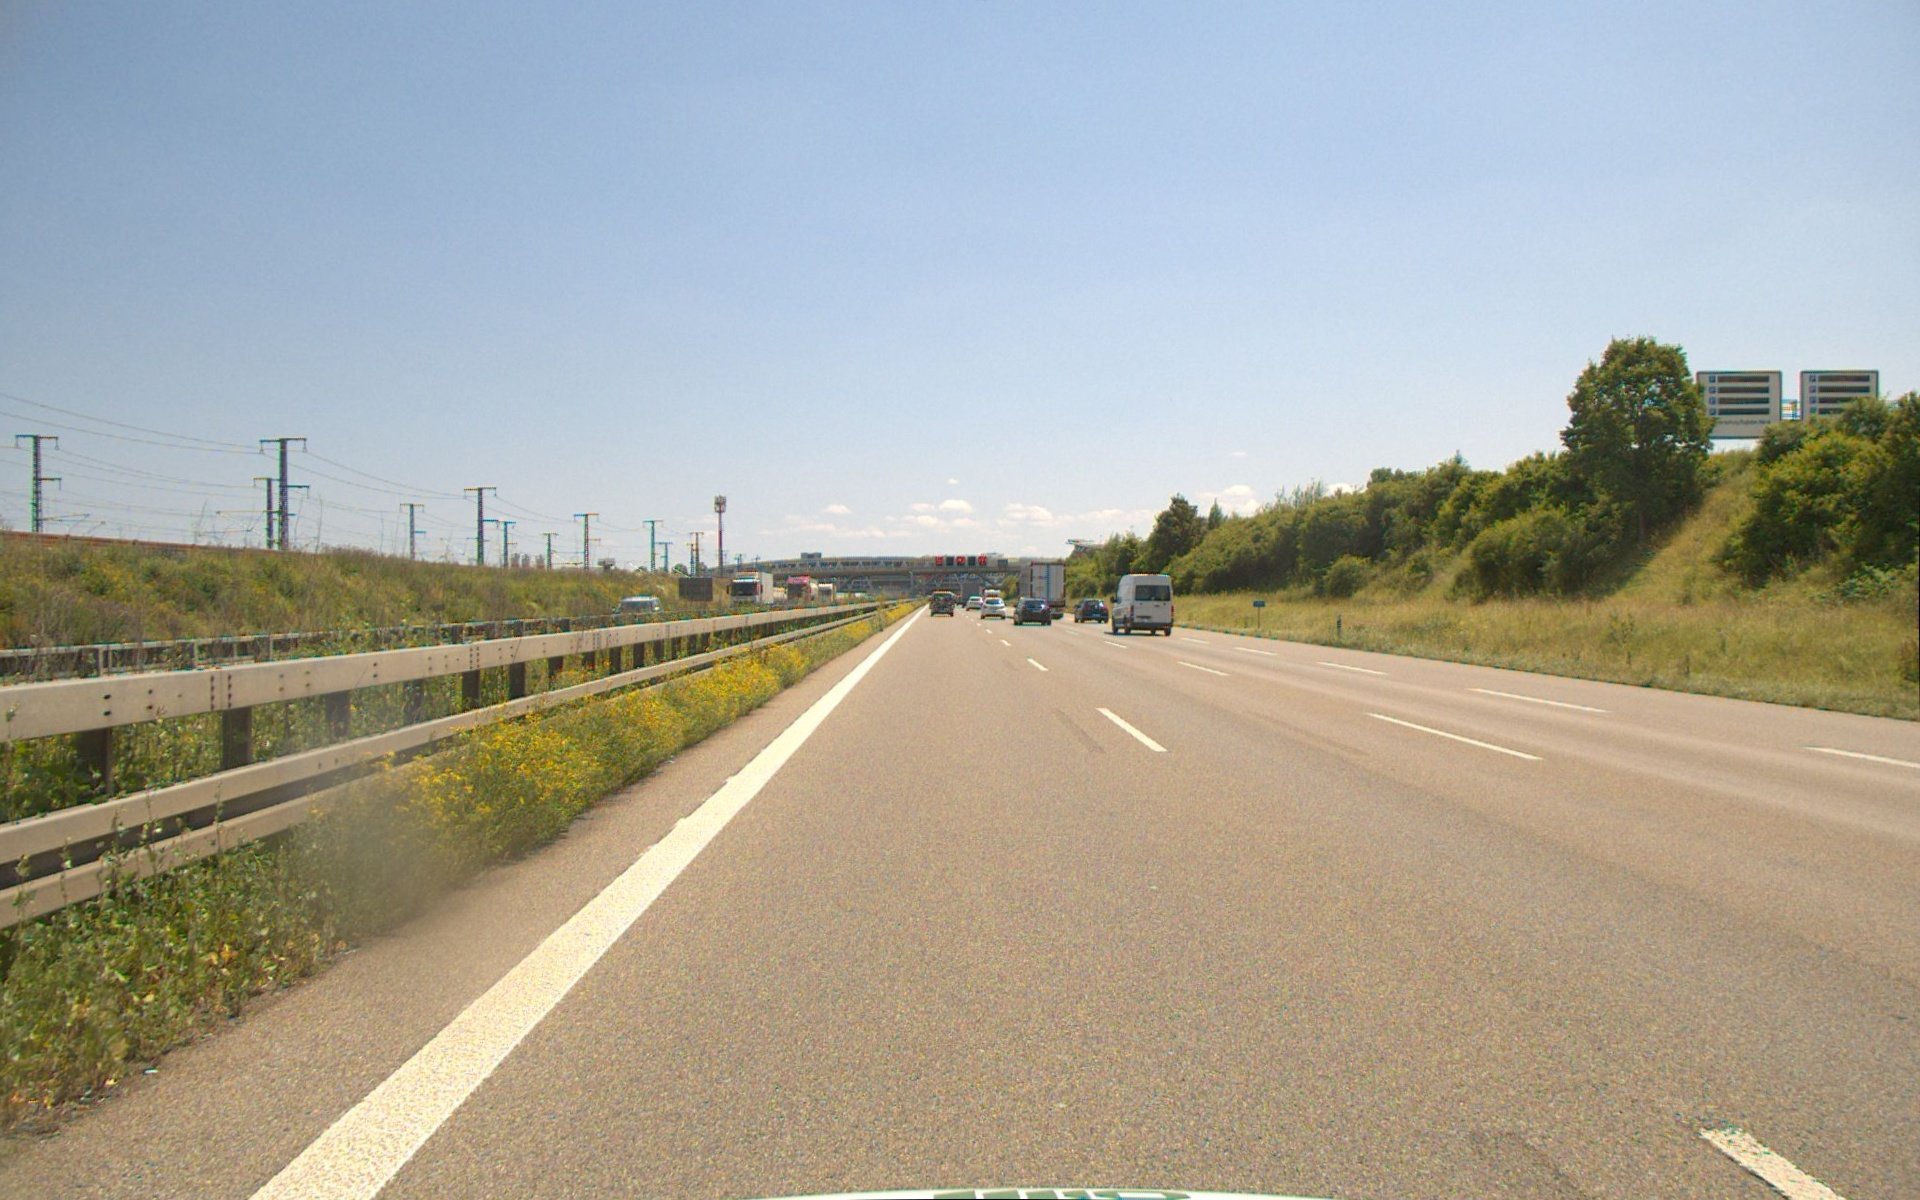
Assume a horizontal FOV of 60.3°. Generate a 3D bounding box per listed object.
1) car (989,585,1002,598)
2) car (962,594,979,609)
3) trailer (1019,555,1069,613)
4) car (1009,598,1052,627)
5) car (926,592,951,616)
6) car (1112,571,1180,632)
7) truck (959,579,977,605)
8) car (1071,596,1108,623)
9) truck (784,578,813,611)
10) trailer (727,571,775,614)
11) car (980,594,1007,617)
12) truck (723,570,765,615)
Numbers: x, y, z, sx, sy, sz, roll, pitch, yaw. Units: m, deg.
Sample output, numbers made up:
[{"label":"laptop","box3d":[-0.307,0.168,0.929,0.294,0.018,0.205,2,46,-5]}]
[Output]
[{"label":"car","box3d":[5.359,-1.285,250.063,1.952,2.049,4.437,0,0,1]},{"label":"car","box3d":[1.143,0.158,177.332,1.842,1.553,4.000,1,-1,0]},{"label":"trailer","box3d":[6.185,-1.185,122.989,3.112,4.130,9.438,-1,0,-1]},{"label":"car","box3d":[3.886,0.706,91.537,1.954,1.534,3.997,2,-1,-3]},{"label":"car","box3d":[-1.647,0.302,126.397,1.842,1.806,3.999,0,-1,-1]},{"label":"car","box3d":[8.103,0.046,72.474,2.228,2.572,5.398,1,0,-2]},{"label":"truck","box3d":[1.045,-1.132,226.712,2.307,3.476,6.056,0,0,-1]},{"label":"car","box3d":[8.199,0.625,105.065,1.953,1.624,3.998,2,-1,-1]},{"label":"truck","box3d":[-18.061,-0.587,185.649,2.731,3.583,4.713,2,0,-1]},{"label":"trailer","box3d":[-17.467,-0.616,138.791,2.731,3.447,9.581,2,0,-1]},{"label":"car","box3d":[2.369,0.380,115.999,1.841,1.553,4.001,1,-1,2]},{"label":"truck","box3d":[-17.439,-0.601,134.049,2.731,3.447,4.713,2,0,-1]}]
